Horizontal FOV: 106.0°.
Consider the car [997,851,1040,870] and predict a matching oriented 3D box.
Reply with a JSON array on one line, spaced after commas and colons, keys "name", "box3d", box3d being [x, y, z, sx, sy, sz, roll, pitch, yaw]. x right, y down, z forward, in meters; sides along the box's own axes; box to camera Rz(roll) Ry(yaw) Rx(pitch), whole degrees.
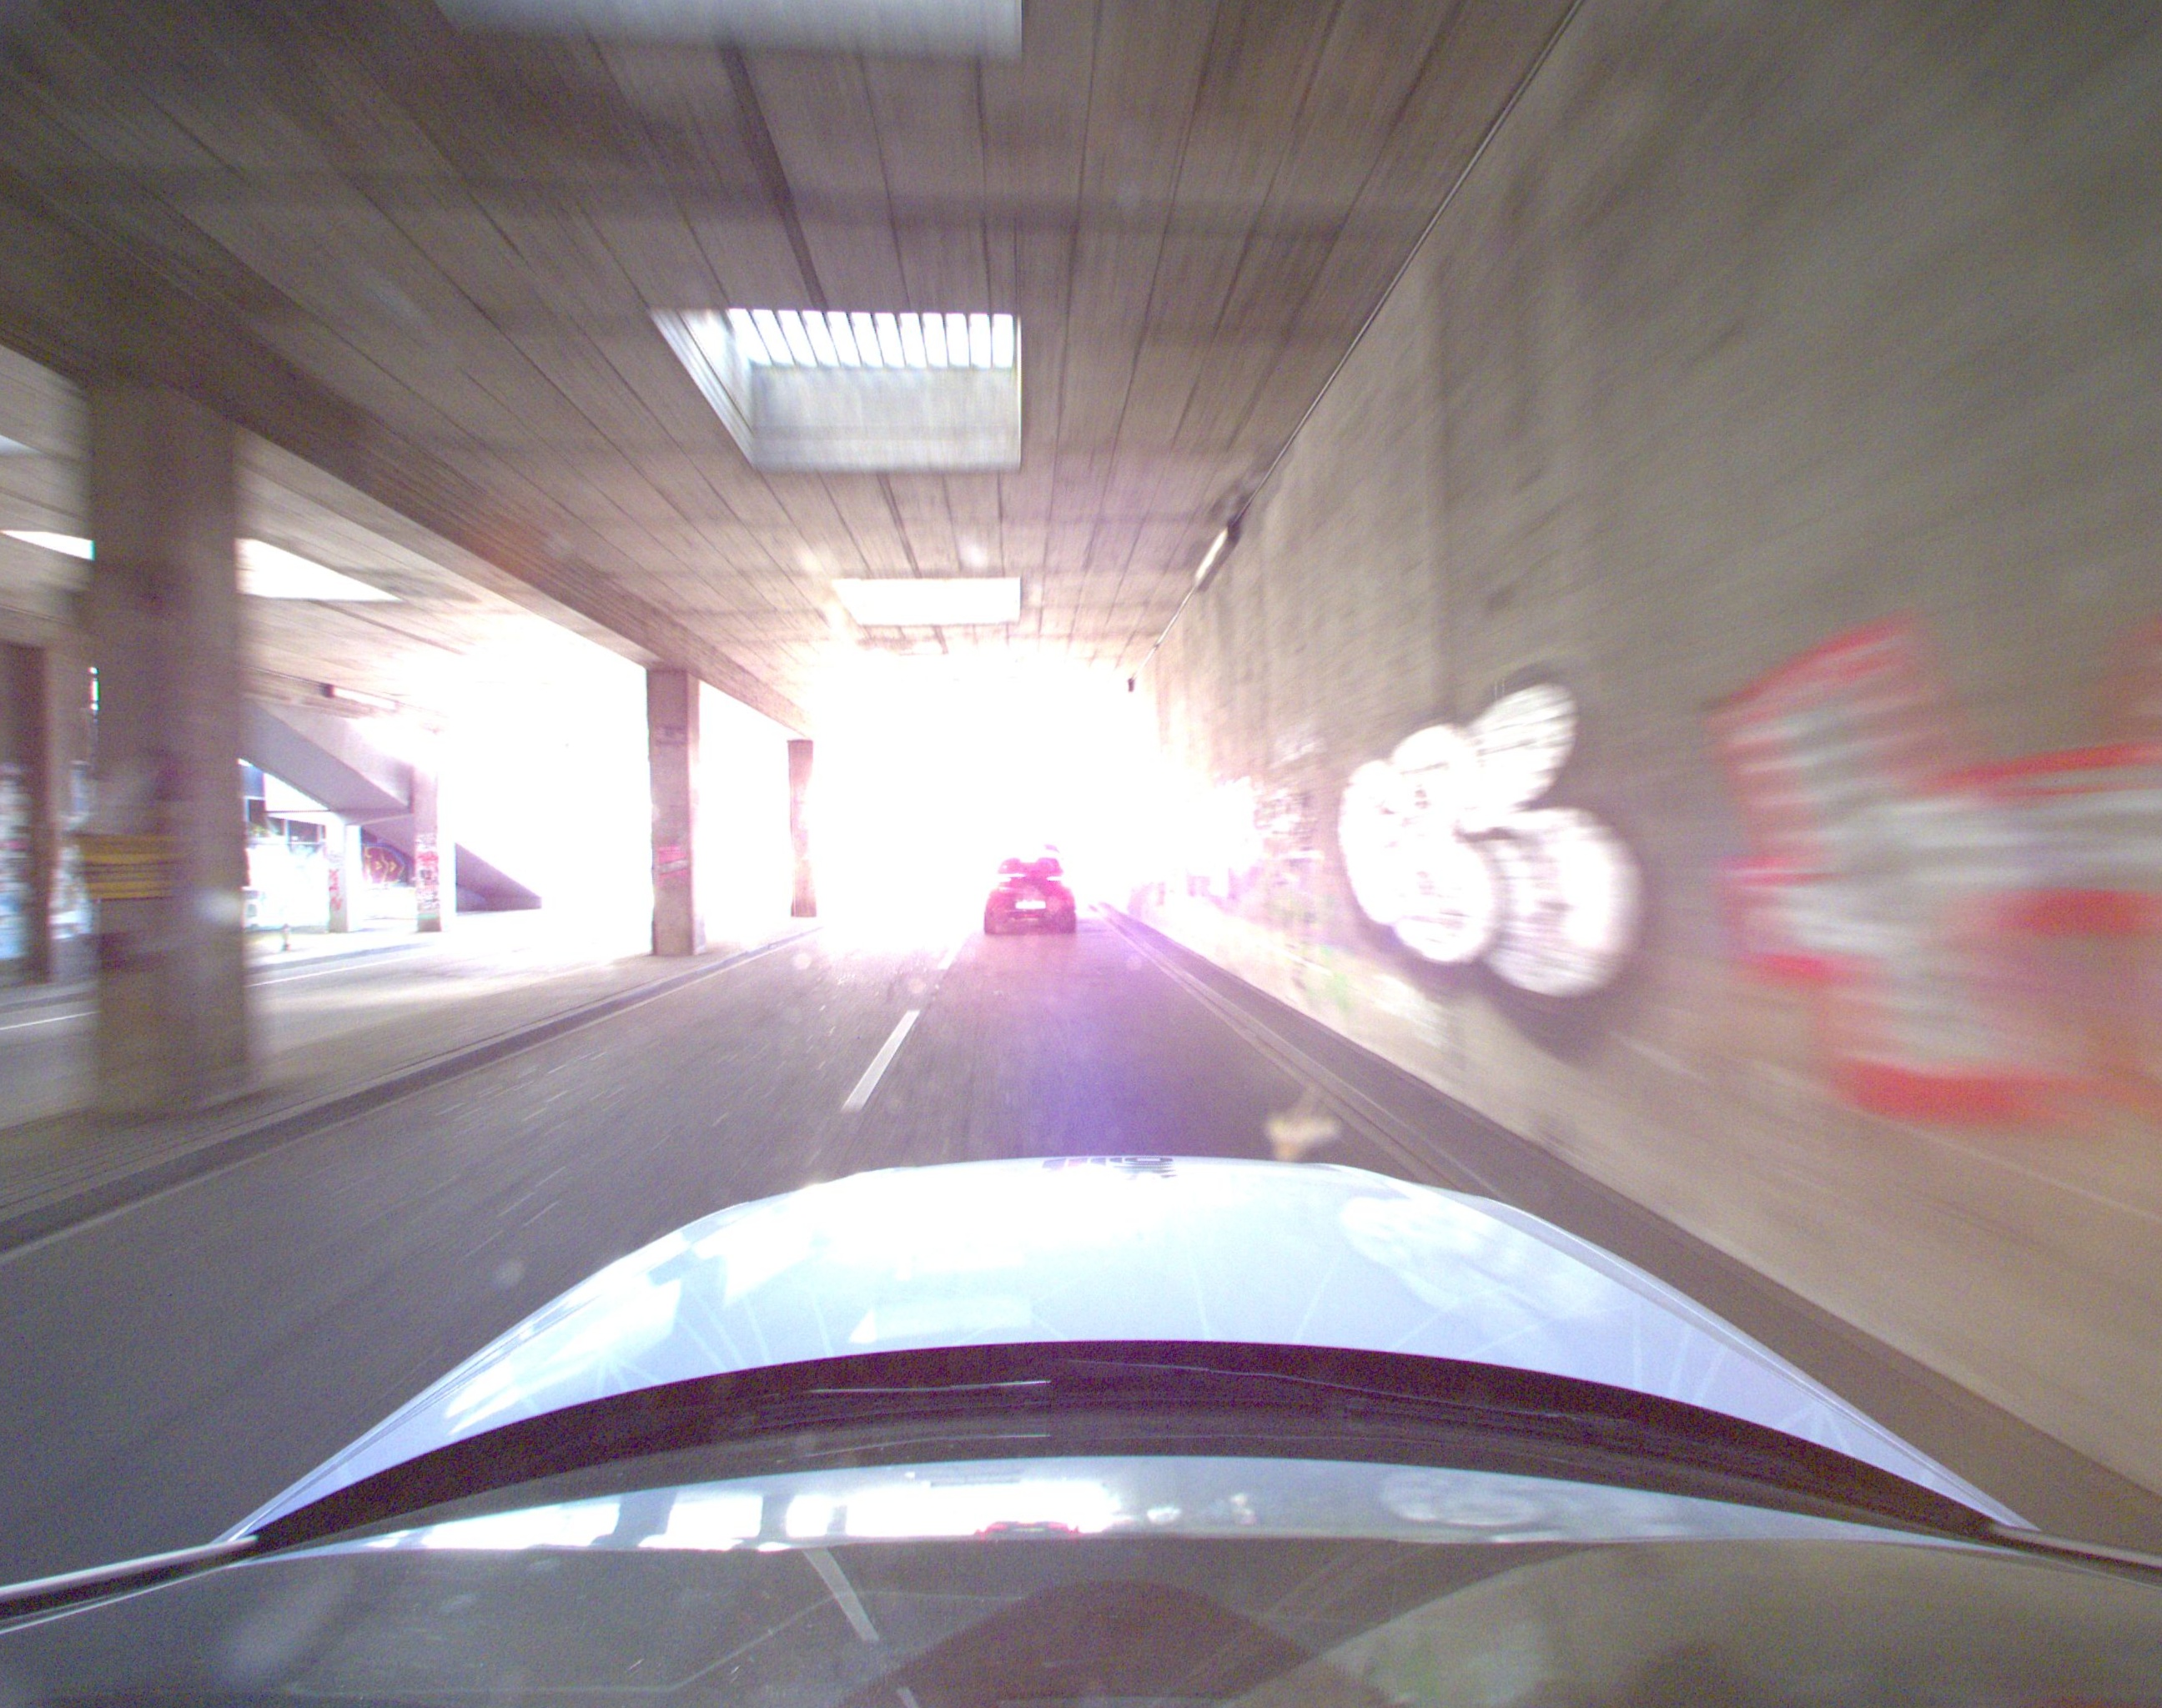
[{"name": "car", "box3d": [-6.353, 0.674, 83.422, 4.134, 1.739, 2.001, -2, 0, 2]}]

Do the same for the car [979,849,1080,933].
[{"name": "car", "box3d": [-1.072, 0.670, 17.008, 1.823, 1.501, 4.205, -1, 0, -4]}]

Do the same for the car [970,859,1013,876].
[{"name": "car", "box3d": [-8.723, 1.273, 79.168, 3.975, 1.574, 1.639, -1, 0, -1]}]

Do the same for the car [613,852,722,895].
[{"name": "car", "box3d": [-21.100, 0.988, 41.747, 4.472, 2.013, 1.997, -1, 2, -5]}]

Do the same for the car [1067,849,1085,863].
[{"name": "car", "box3d": [-0.743, 0.250, 125.983, 1.982, 2.013, 4.278, -2, 0, 8]}]

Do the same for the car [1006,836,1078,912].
[{"name": "car", "box3d": [-1.174, 0.506, 23.118, 1.812, 1.882, 4.578, -2, 0, -5]}]

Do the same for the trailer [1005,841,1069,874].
[{"name": "trailer", "box3d": [-2.852, 0.203, 53.437, 3.974, 2.013, 2.000, -2, 0, 0]}]
